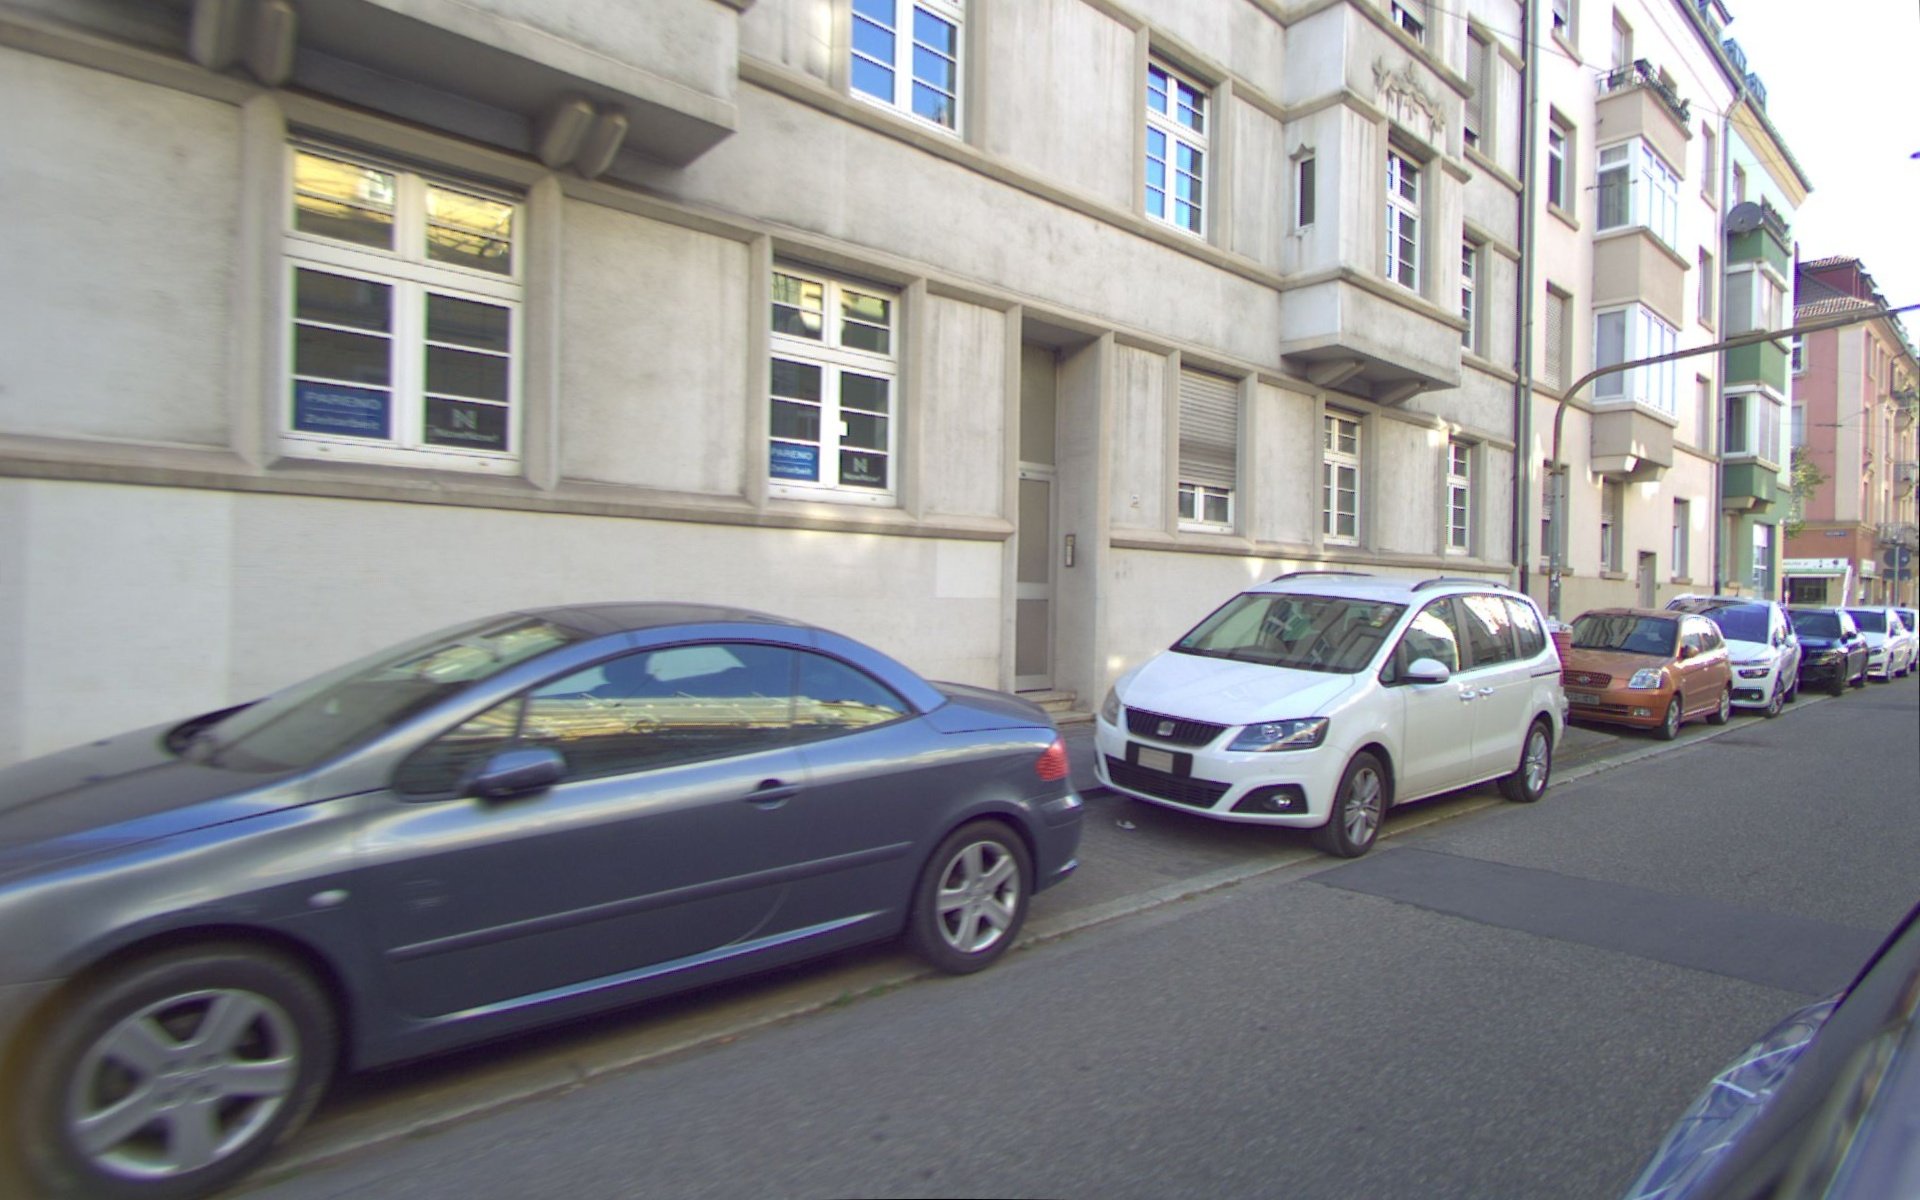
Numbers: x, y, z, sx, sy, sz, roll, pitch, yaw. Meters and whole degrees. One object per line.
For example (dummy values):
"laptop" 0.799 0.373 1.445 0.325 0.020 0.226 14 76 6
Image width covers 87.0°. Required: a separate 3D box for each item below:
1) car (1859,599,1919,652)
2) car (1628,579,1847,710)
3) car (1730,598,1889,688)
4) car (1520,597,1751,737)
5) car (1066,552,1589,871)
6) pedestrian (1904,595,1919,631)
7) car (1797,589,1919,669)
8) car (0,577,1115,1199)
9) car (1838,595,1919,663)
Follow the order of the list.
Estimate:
"car" 28.802 0.740 30.744 3.713 1.492 1.702 0 2 -41
"car" 12.060 0.598 15.604 4.111 1.719 1.703 0 2 -39
"car" 16.237 0.746 19.285 3.794 1.524 1.702 0 1 -40
"car" 8.660 0.749 12.897 3.305 1.502 1.570 0 2 -40
"car" 2.973 0.578 7.596 4.510 1.714 1.712 0 2 -41
"pedestrian" 40.168 0.546 42.628 0.483 1.510 0.526 1 1 -40
"car" 20.110 0.580 22.496 3.891 1.610 1.702 0 1 -41
"car" -1.460 0.695 3.827 4.130 1.470 1.703 0 2 -39
"car" 24.216 0.707 26.240 3.295 1.610 1.702 0 2 -41
